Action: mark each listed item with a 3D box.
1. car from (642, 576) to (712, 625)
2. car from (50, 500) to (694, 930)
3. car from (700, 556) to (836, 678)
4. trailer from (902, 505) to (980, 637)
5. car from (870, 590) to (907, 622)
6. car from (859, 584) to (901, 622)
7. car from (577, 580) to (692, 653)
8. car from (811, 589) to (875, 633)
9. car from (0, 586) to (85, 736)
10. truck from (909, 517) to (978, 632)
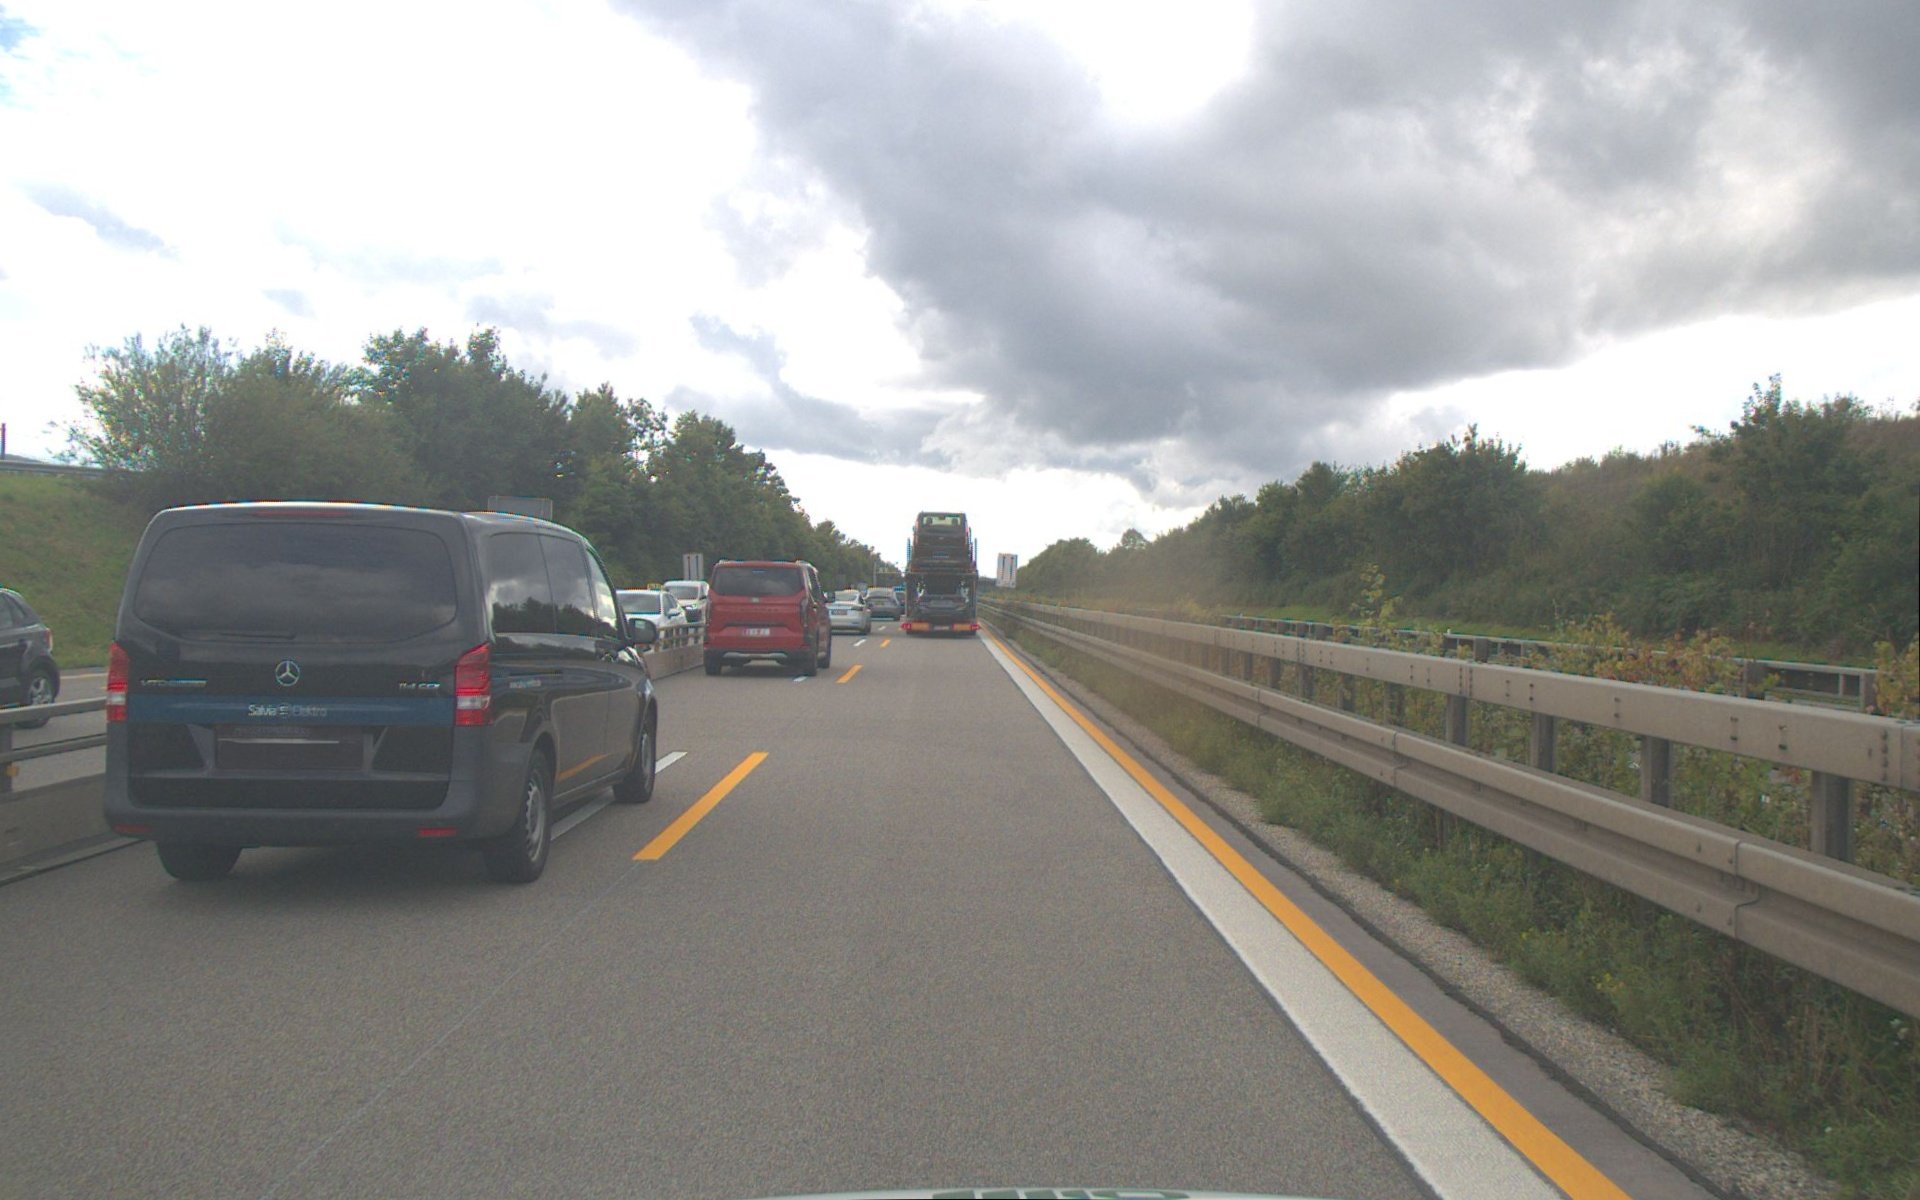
[{"bbox_3d":[-10.897,0.000,64.066,1.953,1.823,4.932,1,0,-1],"label":"car"},{"bbox_3d":[-3.015,0.496,10.028,1.953,1.875,5.608,0,0,-1],"label":"car"},{"bbox_3d":[-3.412,0.275,30.167,1.990,2.049,4.577,0,0,-1],"label":"car"},{"bbox_3d":[-0.617,-0.944,58.502,2.464,4.177,11.112,1,0,0],"label":"trailer"},{"bbox_3d":[-4.079,0.324,94.805,1.990,1.788,4.576,0,0,-2],"label":"car"},{"bbox_3d":[-3.959,0.140,82.436,1.990,1.788,4.576,0,0,-1],"label":"car"},{"bbox_3d":[-6.814,0.310,34.979,1.722,1.412,4.324,2,0,-3],"label":"car"},{"bbox_3d":[-4.025,0.374,57.339,1.990,1.456,4.576,0,0,-1],"label":"car"},{"bbox_3d":[-9.931,0.575,15.251,1.722,1.412,3.998,1,0,-3],"label":"car"},{"bbox_3d":[-0.622,-0.946,63.262,2.464,4.177,5.685,1,0,0],"label":"truck"}]
